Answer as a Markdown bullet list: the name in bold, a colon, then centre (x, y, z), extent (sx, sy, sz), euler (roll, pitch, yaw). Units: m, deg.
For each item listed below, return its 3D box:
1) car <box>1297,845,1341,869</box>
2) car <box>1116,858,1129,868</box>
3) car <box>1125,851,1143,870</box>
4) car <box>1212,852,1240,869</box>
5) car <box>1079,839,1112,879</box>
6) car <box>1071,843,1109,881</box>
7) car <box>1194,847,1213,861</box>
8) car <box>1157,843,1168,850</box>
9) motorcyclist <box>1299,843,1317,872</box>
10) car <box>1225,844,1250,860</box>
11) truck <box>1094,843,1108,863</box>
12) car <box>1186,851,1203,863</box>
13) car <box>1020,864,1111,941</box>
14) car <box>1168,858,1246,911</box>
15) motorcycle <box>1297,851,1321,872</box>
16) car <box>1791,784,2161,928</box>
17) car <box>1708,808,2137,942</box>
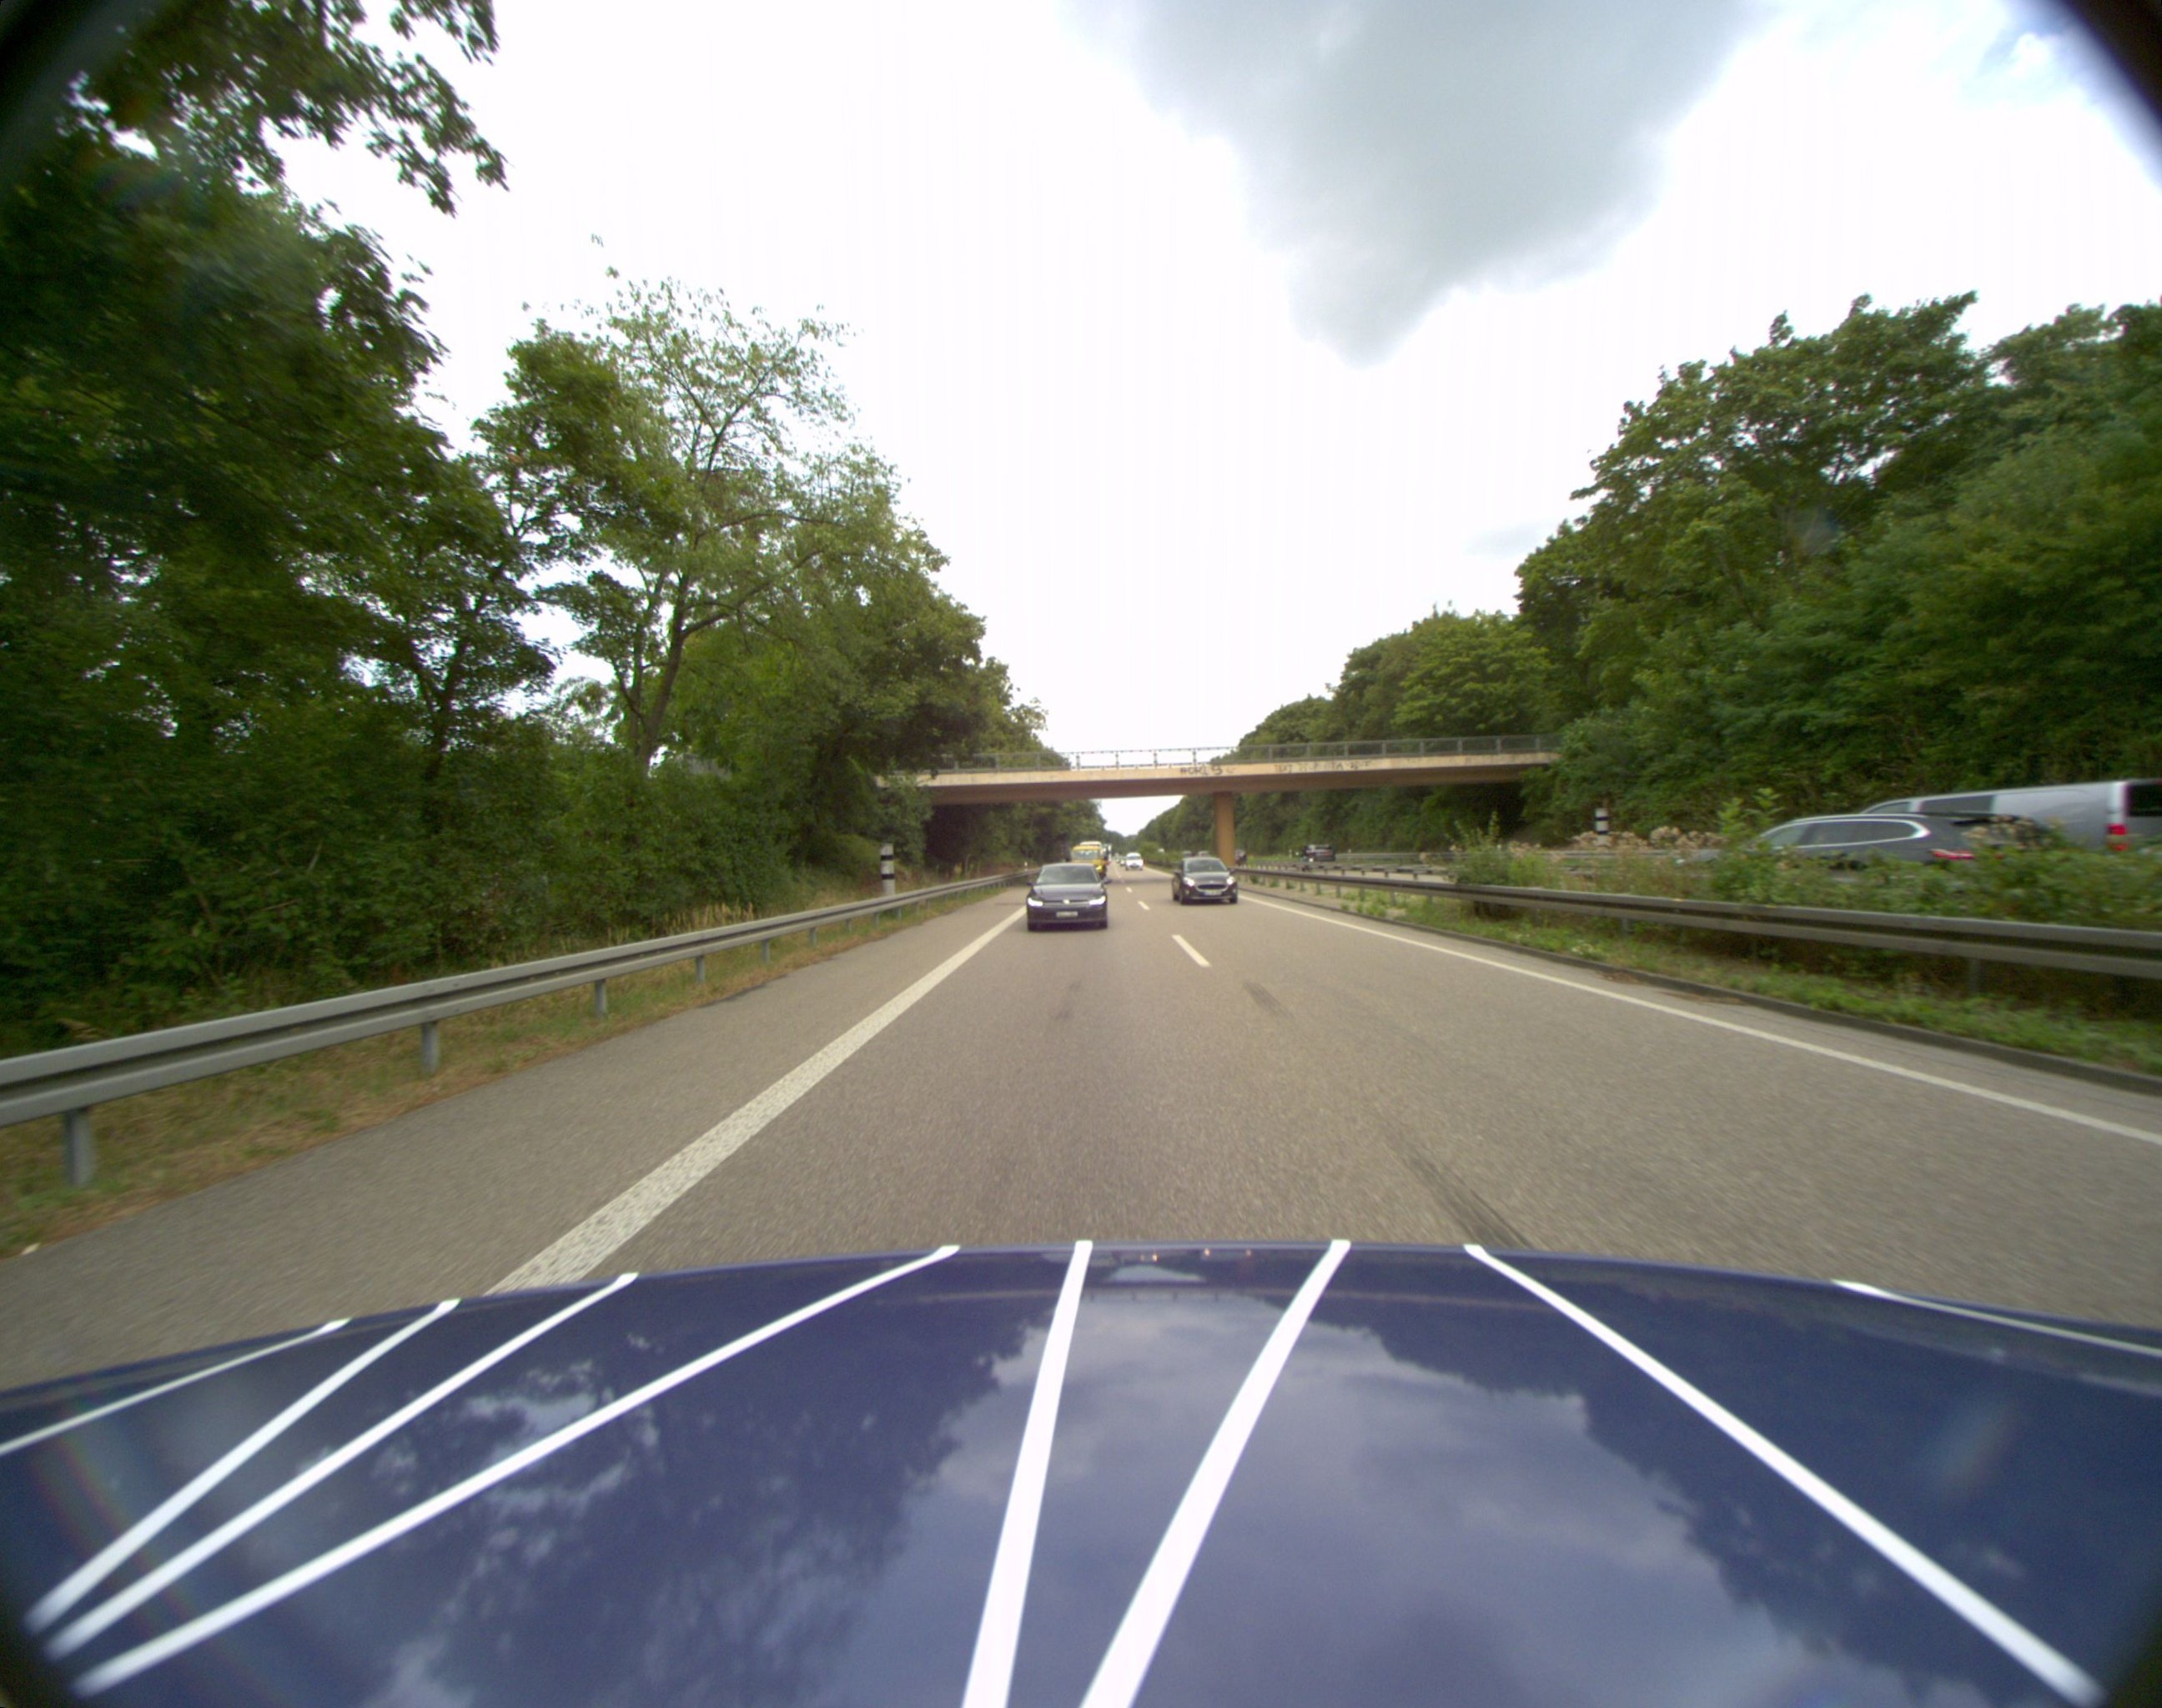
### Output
- **car**: centre (17.434, 0.218, 55.927), extent (1.898, 1.642, 4.639), euler (-2, 0, 2)
- **car**: centre (6.277, 1.340, 115.658), extent (1.772, 1.416, 4.198), euler (-2, 0, 1)
- **car**: centre (5.787, 0.652, 83.225), extent (1.821, 1.993, 4.423), euler (-2, 1, 3)
- **car**: centre (13.070, 0.568, 68.853), extent (1.693, 1.372, 4.936), euler (-2, 0, 2)
- **car**: centre (1.026, 0.326, 57.085), extent (2.208, 2.732, 6.166), euler (-2, 1, -1)
- **car**: centre (0.522, 0.469, 50.107), extent (2.248, 2.334, 5.223), euler (-2, 1, -1)
- **car**: centre (13.998, -0.010, 86.936), extent (1.693, 1.455, 3.990), euler (-2, 1, 2)
- **car**: centre (18.675, -1.700, 174.512), extent (2.192, 1.642, 4.639), euler (-2, 0, 2)
- **motorcyclist**: centre (12.472, 0.164, 41.743), extent (0.682, 1.540, 0.846), euler (-3, 1, 1)
- **car**: centre (17.907, -0.250, 87.132), extent (1.898, 1.677, 4.639), euler (-2, 1, 2)
- **truck**: centre (3.677, -0.131, 140.983), extent (2.548, 3.564, 6.456), euler (-2, 1, 1)
- **car**: centre (16.523, 0.469, 111.015), extent (1.898, 1.642, 4.639), euler (-2, 0, 2)
- **car**: centre (-0.289, 1.015, 17.712), extent (1.800, 1.398, 4.639), euler (-2, 1, 1)
- **car**: centre (3.981, 0.913, 24.696), extent (1.830, 1.449, 4.639), euler (-2, 0, 2)
- **motorcycle**: centre (12.485, 0.387, 41.697), extent (0.703, 1.061, 2.196), euler (-2, 1, 1)
- **car**: centre (15.804, -0.013, 13.317), extent (1.800, 2.002, 5.301), euler (-2, 1, 1)
- **car**: centre (11.979, 0.240, 11.353), extent (1.807, 1.581, 4.181), euler (-2, 1, 1)
